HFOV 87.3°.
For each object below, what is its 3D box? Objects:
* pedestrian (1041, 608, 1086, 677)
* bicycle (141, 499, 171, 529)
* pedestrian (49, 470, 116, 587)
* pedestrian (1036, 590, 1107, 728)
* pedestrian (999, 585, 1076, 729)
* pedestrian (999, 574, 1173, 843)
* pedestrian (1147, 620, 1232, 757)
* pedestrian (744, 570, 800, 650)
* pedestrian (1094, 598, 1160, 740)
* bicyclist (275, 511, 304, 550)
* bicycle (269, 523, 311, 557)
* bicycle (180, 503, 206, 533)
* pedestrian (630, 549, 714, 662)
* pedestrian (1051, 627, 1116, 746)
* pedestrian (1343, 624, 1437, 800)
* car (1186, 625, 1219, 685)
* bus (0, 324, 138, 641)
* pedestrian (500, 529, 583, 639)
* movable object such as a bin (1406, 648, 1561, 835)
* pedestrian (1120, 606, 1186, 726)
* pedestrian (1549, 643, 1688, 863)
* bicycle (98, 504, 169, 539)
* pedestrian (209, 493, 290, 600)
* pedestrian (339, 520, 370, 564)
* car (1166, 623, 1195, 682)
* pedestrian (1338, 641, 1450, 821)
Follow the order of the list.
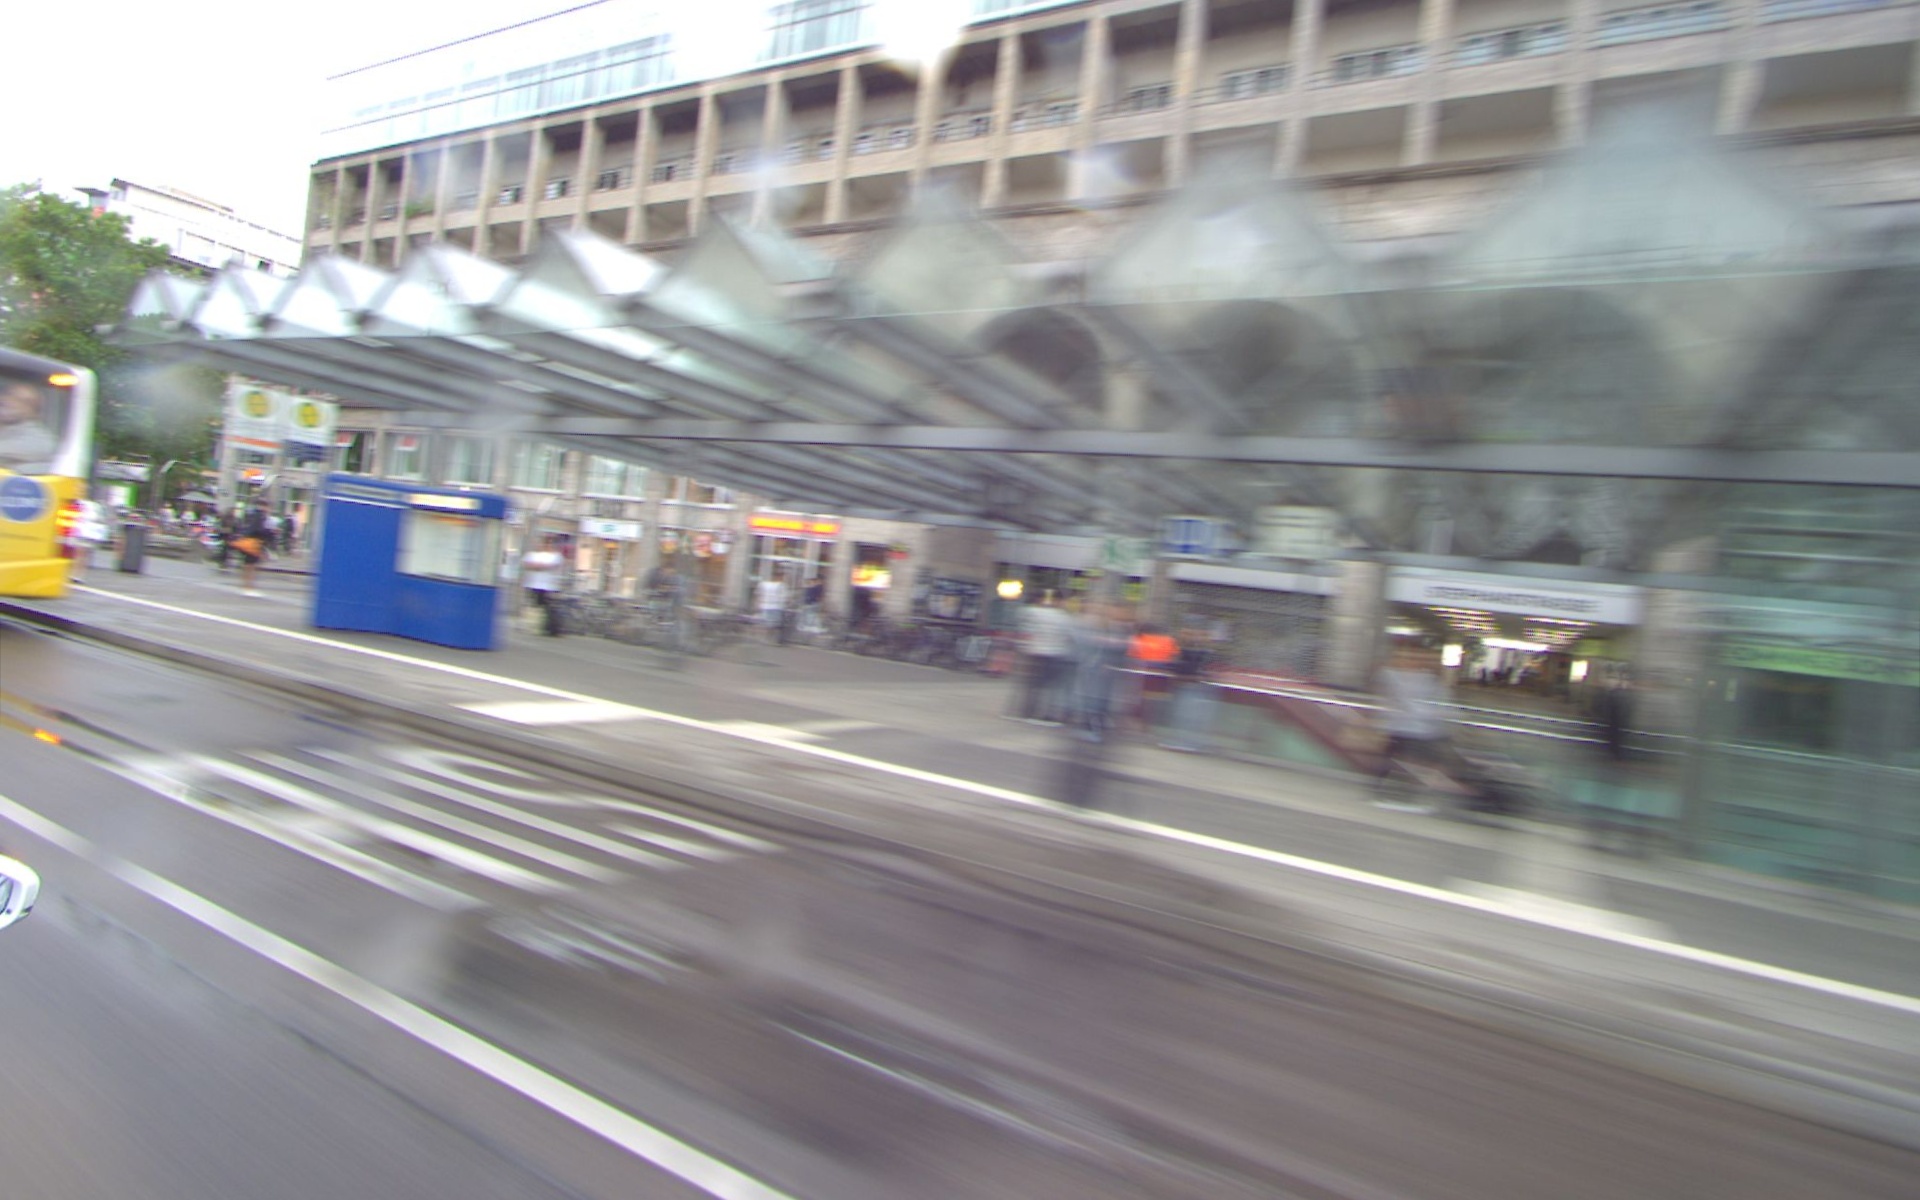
[{"bbox_3d":[2.760,1.137,26.802,0.740,1.731,0.760,7,1,30],"label":"pedestrian"},{"bbox_3d":[-49.046,-5.261,61.370,2.098,1.581,0.793,7,1,37],"label":"bicycle"},{"bbox_3d":[-14.883,-1.206,17.066,0.692,1.859,0.548,7,1,-44],"label":"pedestrian"},{"bbox_3d":[1.614,0.852,14.632,0.591,1.897,0.587,7,1,-27],"label":"pedestrian"},{"bbox_3d":[1.072,0.785,13.866,0.616,1.882,0.606,7,1,39],"label":"pedestrian"},{"bbox_3d":[0.909,0.746,7.249,0.980,1.711,0.762,7,0,9],"label":"pedestrian"},{"bbox_3d":[2.969,1.130,13.003,0.748,1.628,0.752,7,0,25],"label":"pedestrian"},{"bbox_3d":[-4.369,0.212,23.368,0.974,1.716,0.853,7,0,-20],"label":"pedestrian"},{"bbox_3d":[2.281,0.930,13.809,0.582,1.853,0.607,7,1,1],"label":"pedestrian"},{"bbox_3d":[-29.440,-3.065,44.156,0.892,1.574,0.650,7,1,31],"label":"bicyclist"},{"bbox_3d":[-29.370,-2.618,44.084,1.979,1.271,0.660,7,1,31],"label":"bicycle"},{"bbox_3d":[-46.577,-4.977,61.067,1.965,1.654,0.616,7,1,37],"label":"bicycle"},{"bbox_3d":[-4.711,0.099,16.452,0.887,1.716,0.749,7,1,33],"label":"pedestrian"},{"bbox_3d":[1.549,1.075,12.577,0.499,1.394,0.553,7,1,25],"label":"pedestrian"},{"bbox_3d":[4.991,1.272,11.658,0.748,1.871,0.752,7,1,26],"label":"pedestrian"},{"bbox_3d":[6.602,1.504,27.387,0.558,1.557,0.590,7,0,32],"label":"car"},{"bbox_3d":[-14.317,-1.736,12.480,8.980,3.286,3.148,6,-1,30],"label":"bus"},{"bbox_3d":[-7.495,-0.272,18.056,0.974,1.827,0.789,7,1,1],"label":"pedestrian"},{"bbox_3d":[5.225,1.384,10.099,1.029,1.672,0.665,7,0,7],"label":"movable object such as a bin"},{"bbox_3d":[3.183,1.074,16.685,0.739,1.853,0.762,7,0,1],"label":"pedestrian"},{"bbox_3d":[6.101,1.388,9.318,0.748,1.859,0.752,7,1,-45],"label":"pedestrian"},{"bbox_3d":[-32.026,-3.029,39.009,0.873,1.154,2.089,6,1,3],"label":"bicycle"},{"bbox_3d":[-13.410,-1.003,18.989,0.982,1.859,0.825,7,1,-45],"label":"pedestrian"},{"bbox_3d":[-26.821,-2.580,44.542,0.775,1.815,0.732,7,1,29],"label":"pedestrian"},{"bbox_3d":[6.113,1.454,27.869,0.464,1.557,0.590,7,0,32],"label":"car"},{"bbox_3d":[4.388,1.294,10.229,0.667,1.675,0.762,7,0,6],"label":"pedestrian"}]
